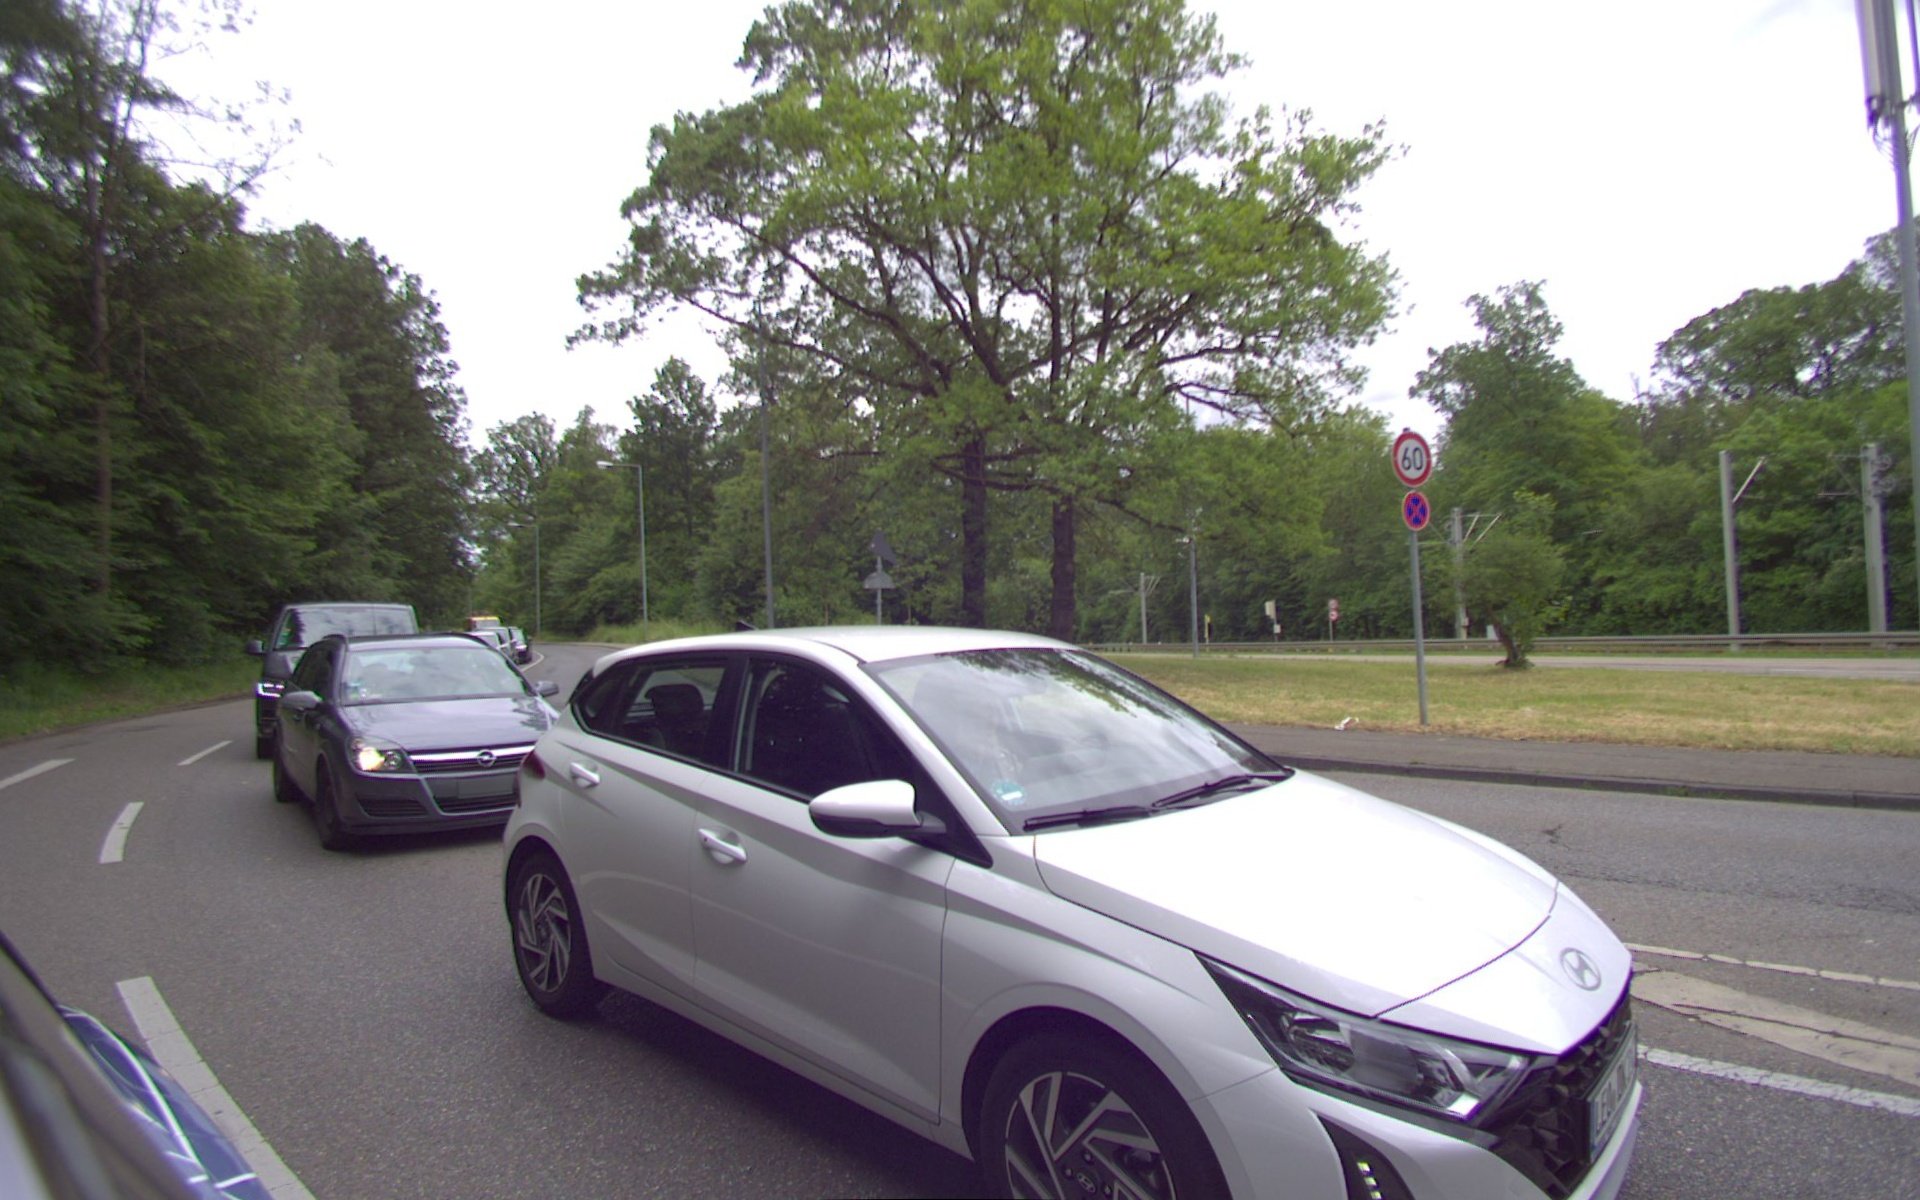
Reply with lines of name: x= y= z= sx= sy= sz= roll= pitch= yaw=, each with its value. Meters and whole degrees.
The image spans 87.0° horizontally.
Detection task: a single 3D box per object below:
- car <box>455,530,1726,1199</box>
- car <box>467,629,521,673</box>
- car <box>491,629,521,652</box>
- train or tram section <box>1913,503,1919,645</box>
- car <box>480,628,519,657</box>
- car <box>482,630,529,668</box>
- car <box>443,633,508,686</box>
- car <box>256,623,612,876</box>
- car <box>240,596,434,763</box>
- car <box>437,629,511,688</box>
car: x=-0.071 y=0.721 z=3.429 sx=4.073 sy=1.490 sz=1.631 roll=-3 pitch=-2 yaw=43
car: x=-17.564 y=1.887 z=38.145 sx=1.748 sy=1.511 sz=3.885 roll=0 pitch=-2 yaw=-25
car: x=-31.826 y=2.846 z=70.989 sx=1.749 sy=1.511 sz=3.885 roll=-1 pitch=-2 yaw=-22
train or tram section: x=33.661 y=-0.853 z=23.099 sx=2.916 sy=4.451 sz=18.778 roll=-1 pitch=0 yaw=-13
car: x=-25.280 y=2.333 z=55.647 sx=1.749 sy=1.511 sz=3.885 roll=-1 pitch=-2 yaw=-22
car: x=-19.385 y=2.057 z=43.141 sx=1.748 sy=1.511 sz=3.885 roll=0 pitch=-2 yaw=-25
car: x=-15.391 y=1.849 z=32.235 sx=1.748 sy=1.511 sz=3.885 roll=0 pitch=-2 yaw=-25
car: x=-4.574 y=0.992 z=8.394 sx=1.775 sy=1.490 sz=4.478 roll=0 pitch=-2 yaw=-39
car: x=-8.422 y=0.978 z=13.954 sx=1.957 sy=1.887 sz=4.545 roll=0 pitch=-2 yaw=-29
car: x=-13.627 y=1.602 z=28.470 sx=1.748 sy=1.511 sz=3.885 roll=0 pitch=-2 yaw=-25
